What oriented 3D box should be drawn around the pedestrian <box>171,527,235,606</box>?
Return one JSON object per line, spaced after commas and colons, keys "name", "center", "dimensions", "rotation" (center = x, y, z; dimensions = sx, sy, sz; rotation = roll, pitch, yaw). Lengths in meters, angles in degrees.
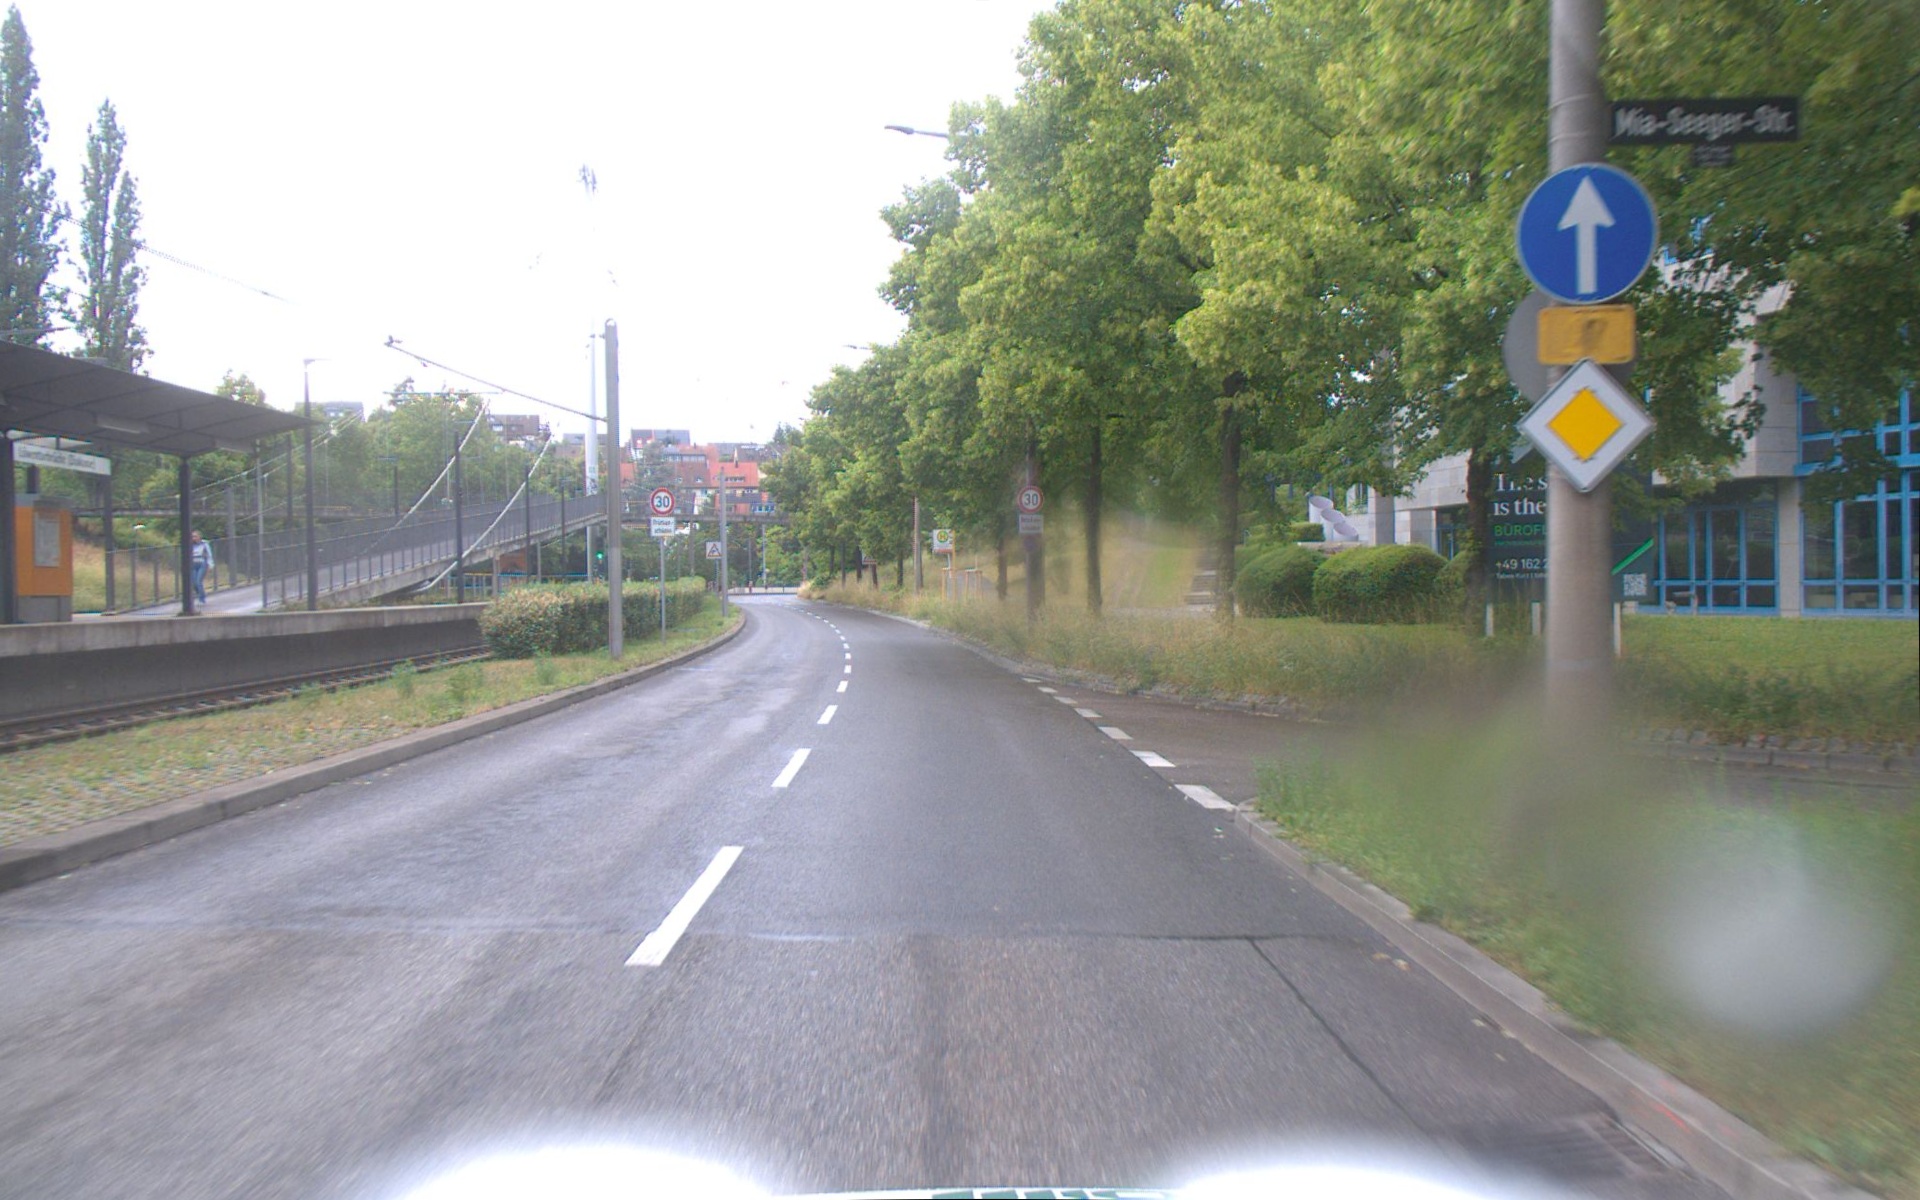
{"name": "pedestrian", "center": [-15.964, -0.696, 34.907], "dimensions": [0.917, 1.639, 1.026], "rotation": [0, 0, -5]}
